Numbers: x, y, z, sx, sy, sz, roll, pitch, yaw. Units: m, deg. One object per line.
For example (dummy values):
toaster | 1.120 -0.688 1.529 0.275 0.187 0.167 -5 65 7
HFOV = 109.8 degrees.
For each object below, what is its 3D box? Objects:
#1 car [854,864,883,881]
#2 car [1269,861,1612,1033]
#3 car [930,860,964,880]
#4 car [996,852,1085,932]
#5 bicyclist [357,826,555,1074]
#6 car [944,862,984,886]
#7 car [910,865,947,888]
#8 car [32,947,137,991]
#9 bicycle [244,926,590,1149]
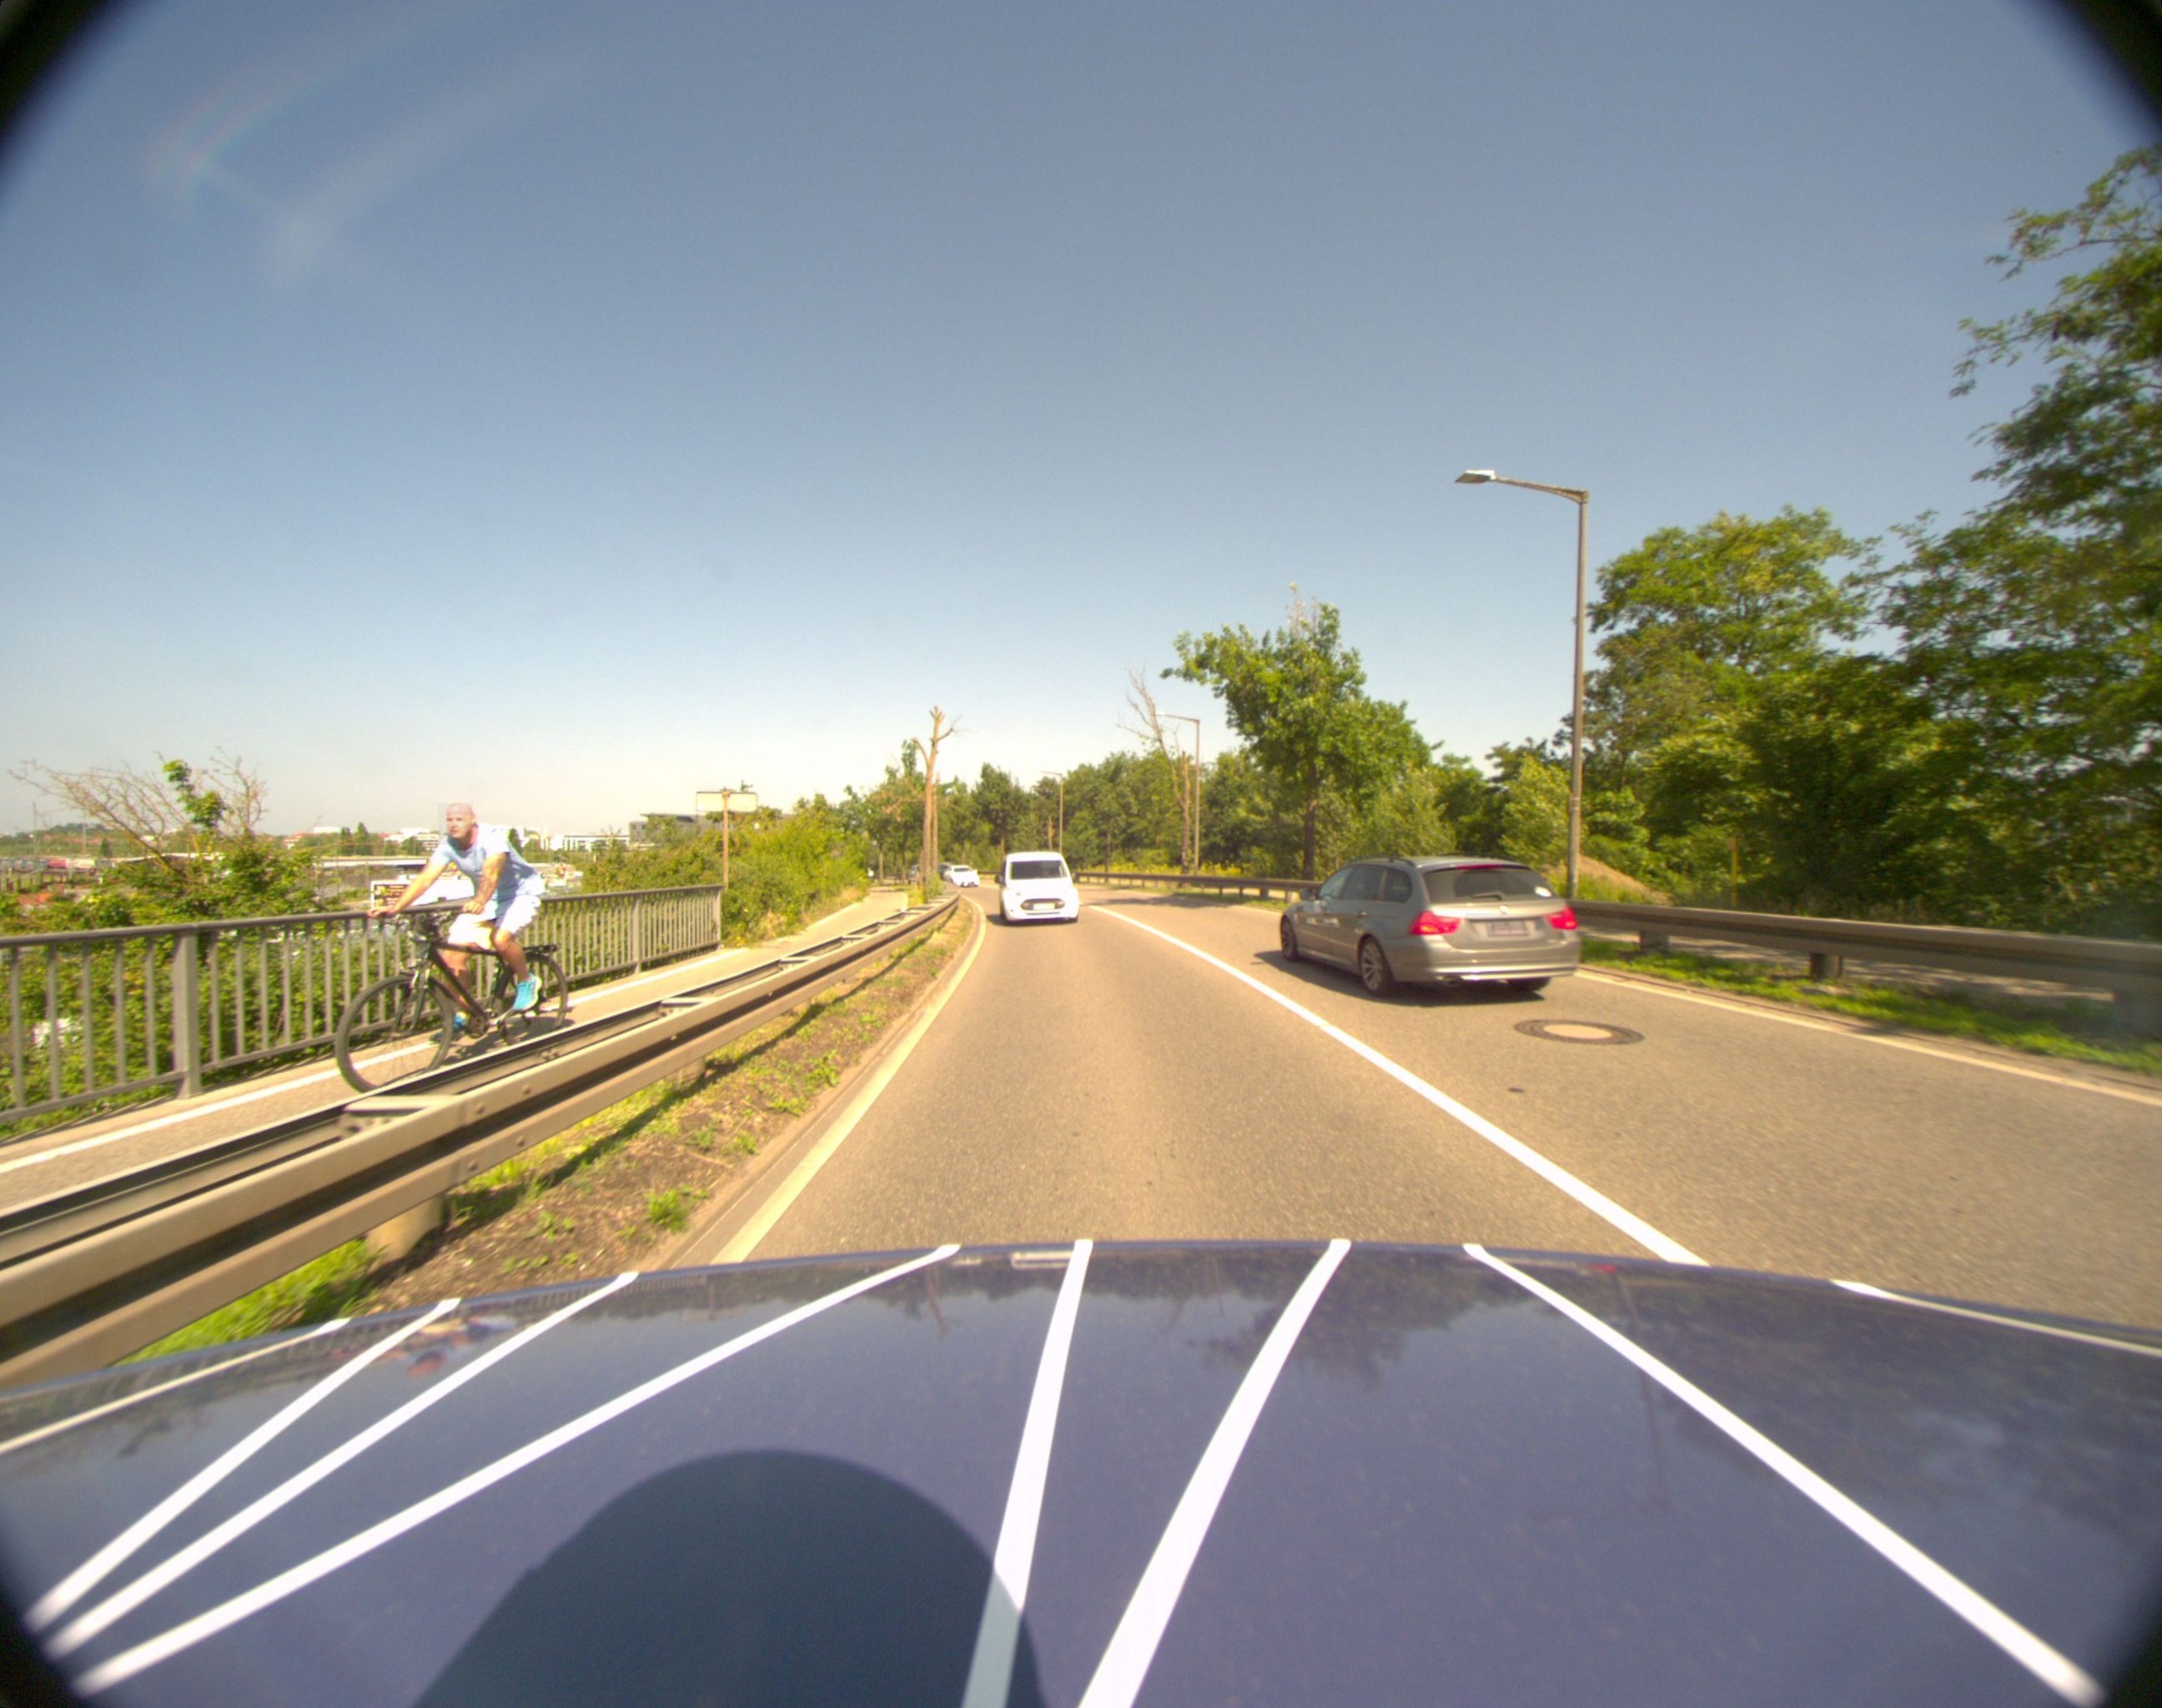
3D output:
car | -23.692 2.032 84.675 2.003 1.757 3.991 -4 1 -31
car | 3.653 0.821 8.685 1.722 1.390 4.181 -2 0 -3
car | -12.469 1.473 70.393 1.938 1.525 4.107 -4 4 -26
car | -1.165 0.890 19.791 1.898 1.784 4.444 -2 0 -8
bicyclist | -4.101 0.587 5.050 0.660 1.511 0.802 2 1 -4
car | -8.090 1.372 52.283 1.849 1.479 4.145 -2 0 -21
car | -12.764 1.851 63.418 2.002 1.576 3.992 -7 2 -25
car | -59.485 6.827 45.481 2.002 1.860 3.992 -7 2 -25
bicycle | -4.161 1.075 5.006 0.704 1.014 1.845 2 0 -3
